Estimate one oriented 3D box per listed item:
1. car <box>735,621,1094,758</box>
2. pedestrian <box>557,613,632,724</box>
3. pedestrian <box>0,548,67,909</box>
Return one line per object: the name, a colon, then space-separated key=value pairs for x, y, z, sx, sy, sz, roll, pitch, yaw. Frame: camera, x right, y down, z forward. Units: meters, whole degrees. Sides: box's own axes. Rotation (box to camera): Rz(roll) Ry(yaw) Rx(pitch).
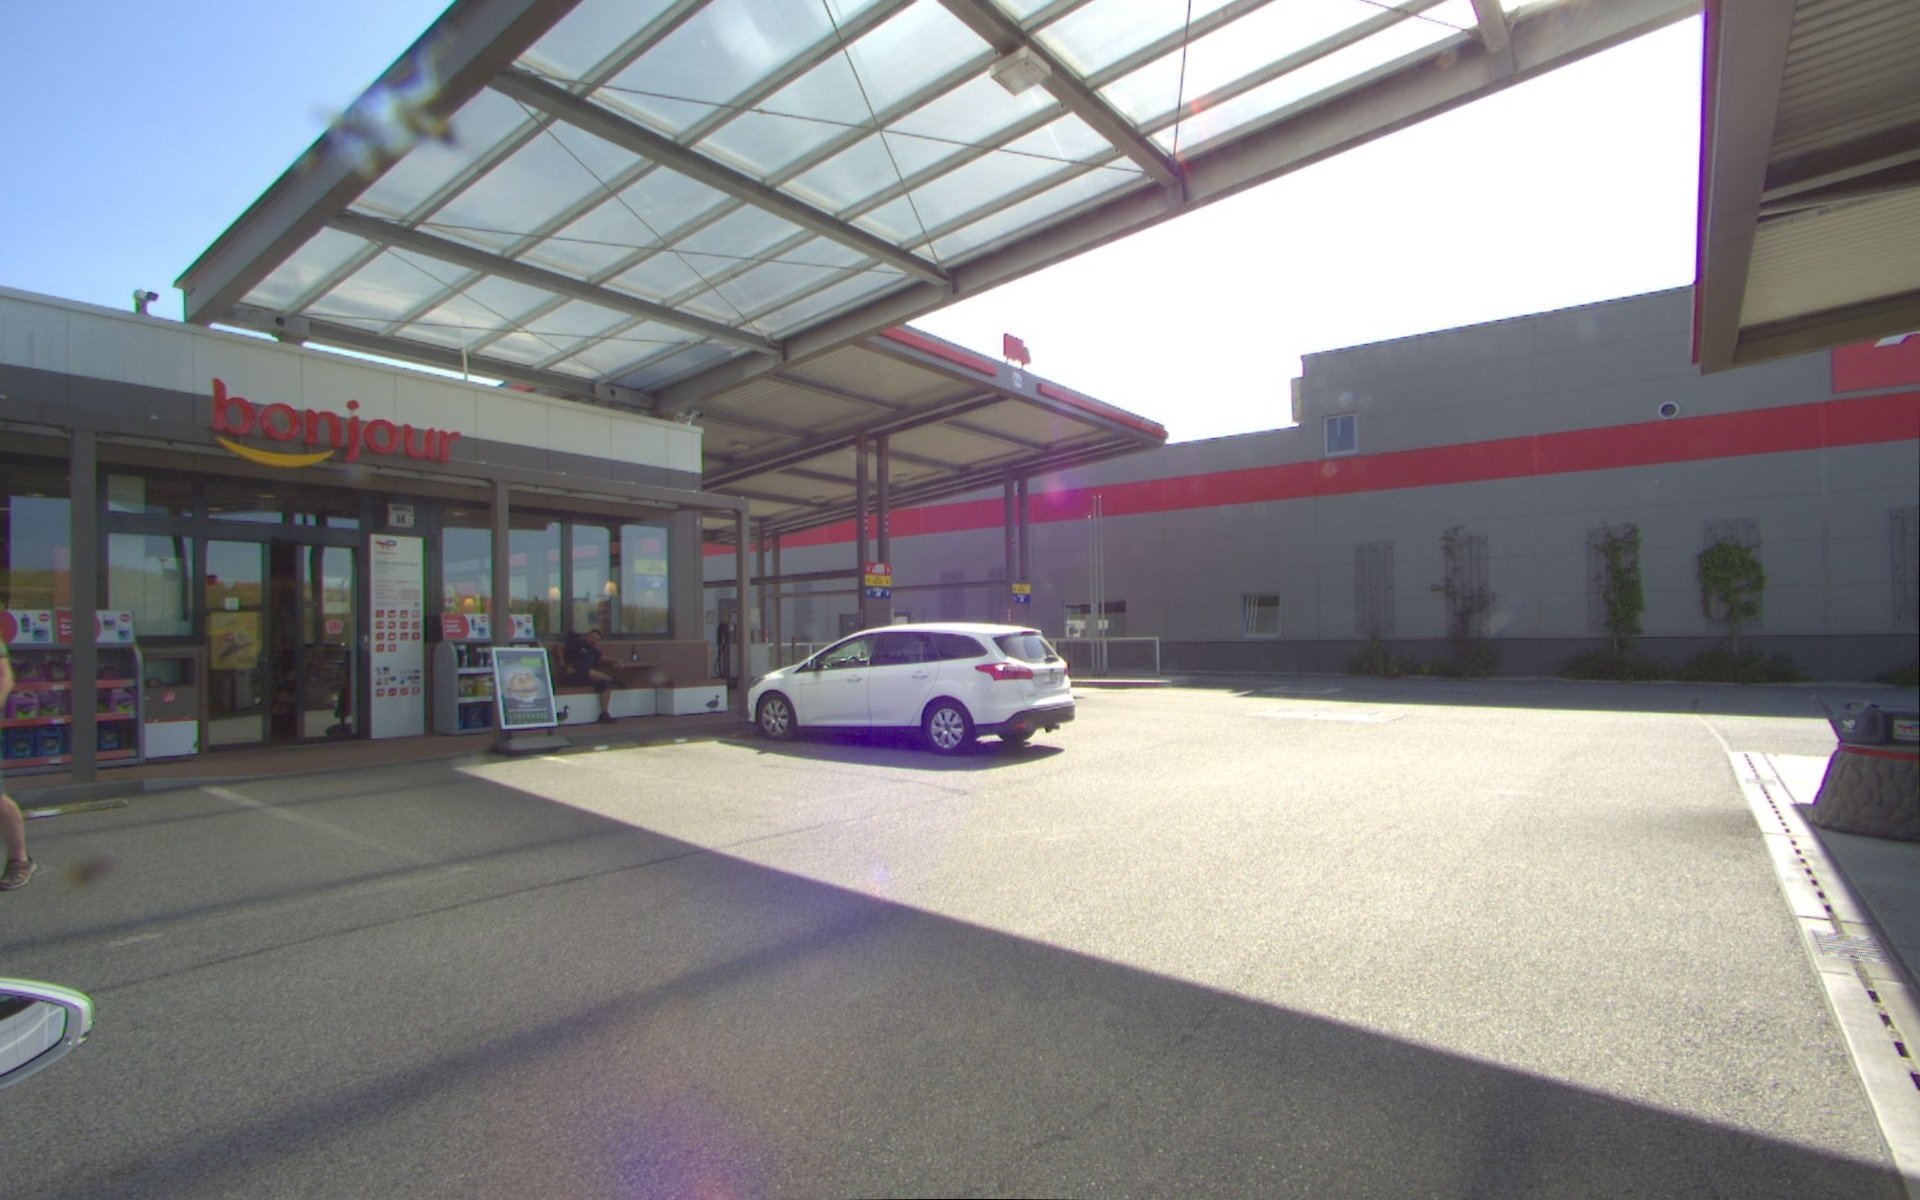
car: x=-0.630 y=1.015 z=12.644 sx=4.257 sy=1.475 sz=1.827 roll=-1 pitch=-1 yaw=31
pedestrian: x=-4.954 y=0.903 z=13.580 sx=0.664 sy=1.450 sz=0.699 roll=-1 pitch=-1 yaw=35
pedestrian: x=-5.312 y=0.657 z=5.254 sx=0.692 sy=1.820 sz=0.859 roll=0 pitch=-1 yaw=-24
